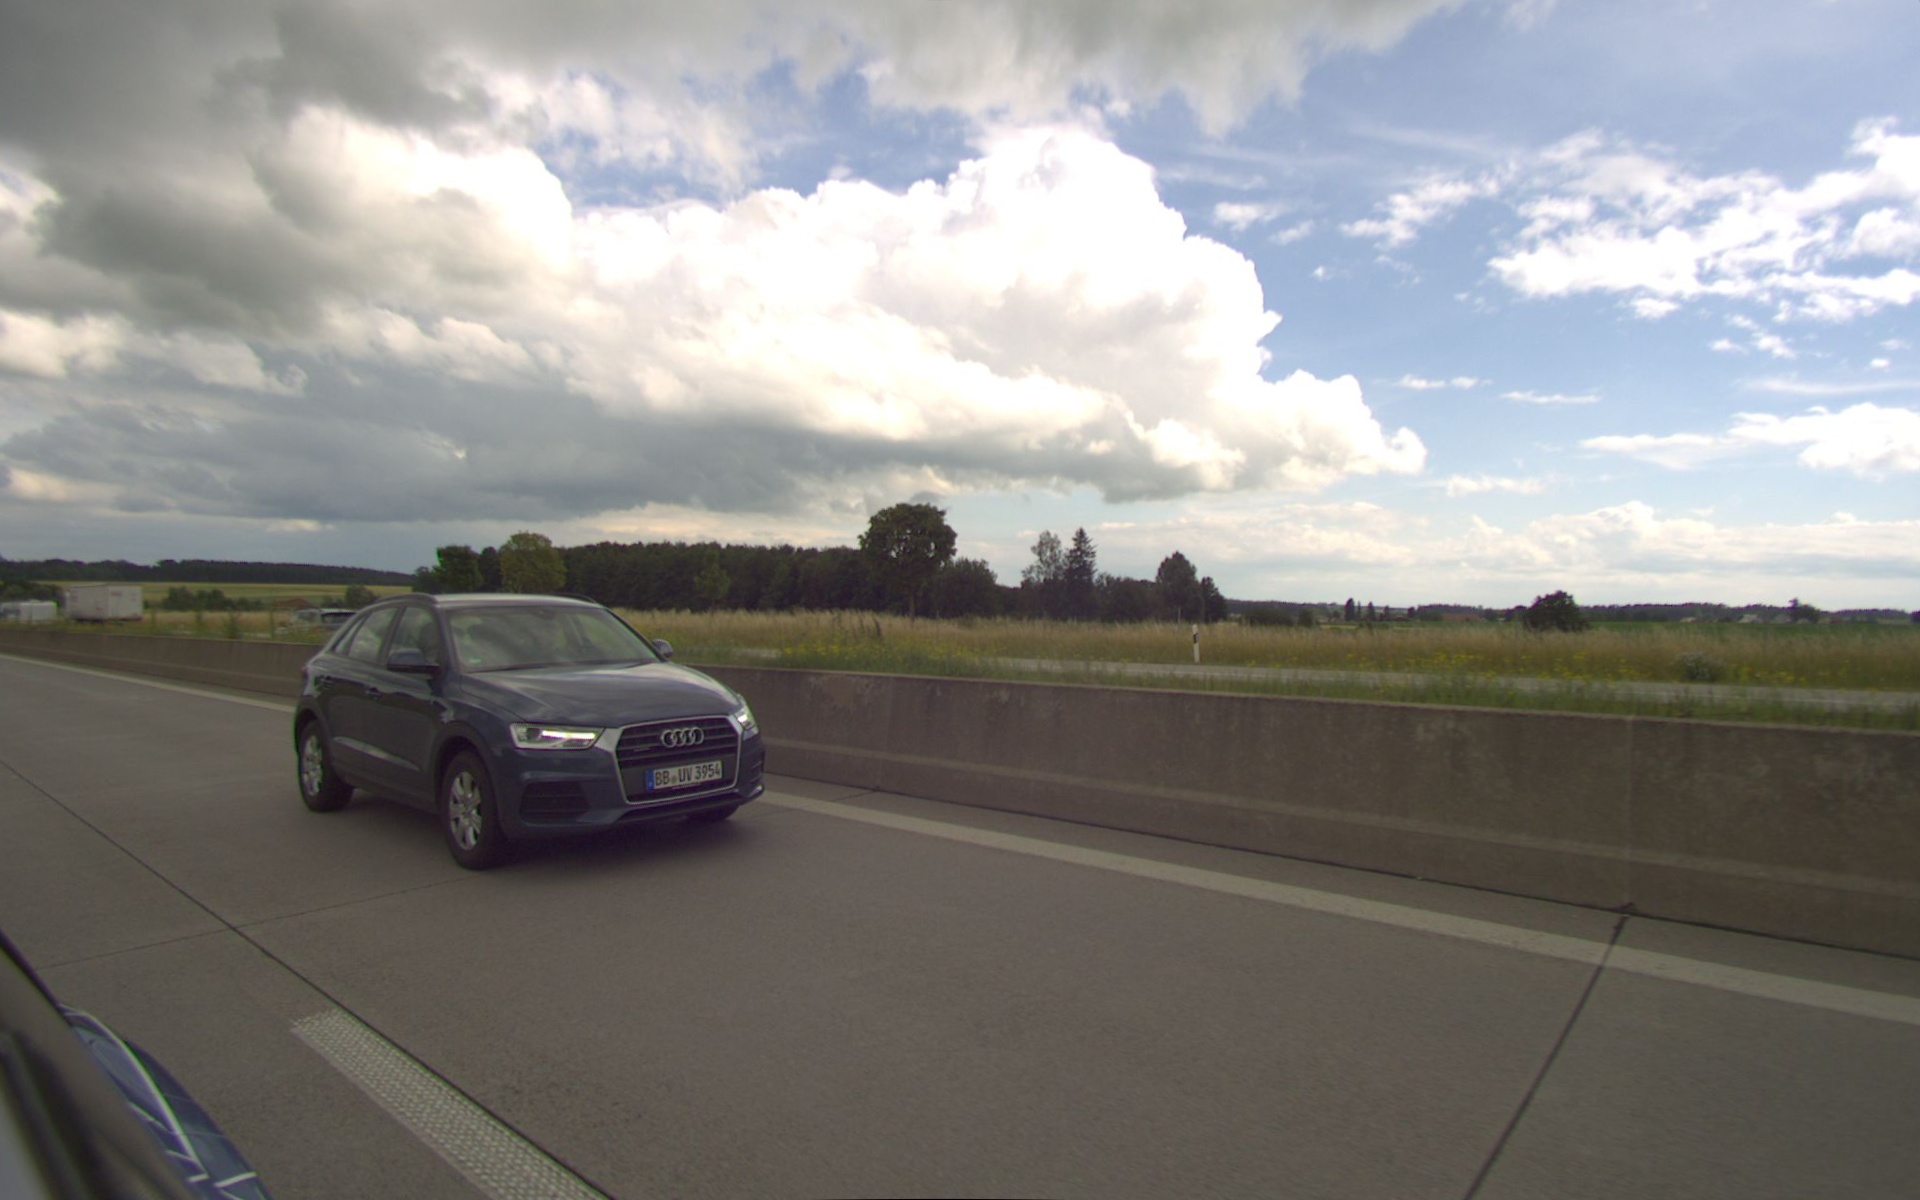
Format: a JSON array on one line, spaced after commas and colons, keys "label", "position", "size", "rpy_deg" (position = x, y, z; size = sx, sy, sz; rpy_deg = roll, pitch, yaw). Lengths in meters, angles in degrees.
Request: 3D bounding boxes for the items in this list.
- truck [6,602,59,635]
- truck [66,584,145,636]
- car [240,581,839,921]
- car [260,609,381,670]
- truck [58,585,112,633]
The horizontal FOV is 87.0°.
[{"label": "truck", "position": [-80.941, 1.626, 88.314], "size": [6.915, 2.746, 2.589], "rpy_deg": [-1, 0, 41]}, {"label": "truck", "position": [-74.608, 0.779, 88.223], "size": [14.555, 4.287, 2.812], "rpy_deg": [0, 0, 40]}, {"label": "car", "position": [-3.266, 0.736, 7.151], "size": [5.153, 1.608, 1.774], "rpy_deg": [-1, 0, 41]}, {"label": "car", "position": [-20.492, 1.200, 32.345], "size": [4.928, 1.795, 1.973], "rpy_deg": [-1, -1, 41]}, {"label": "truck", "position": [-80.885, 0.766, 93.521], "size": [6.086, 4.287, 2.812], "rpy_deg": [0, 0, 40]}]
